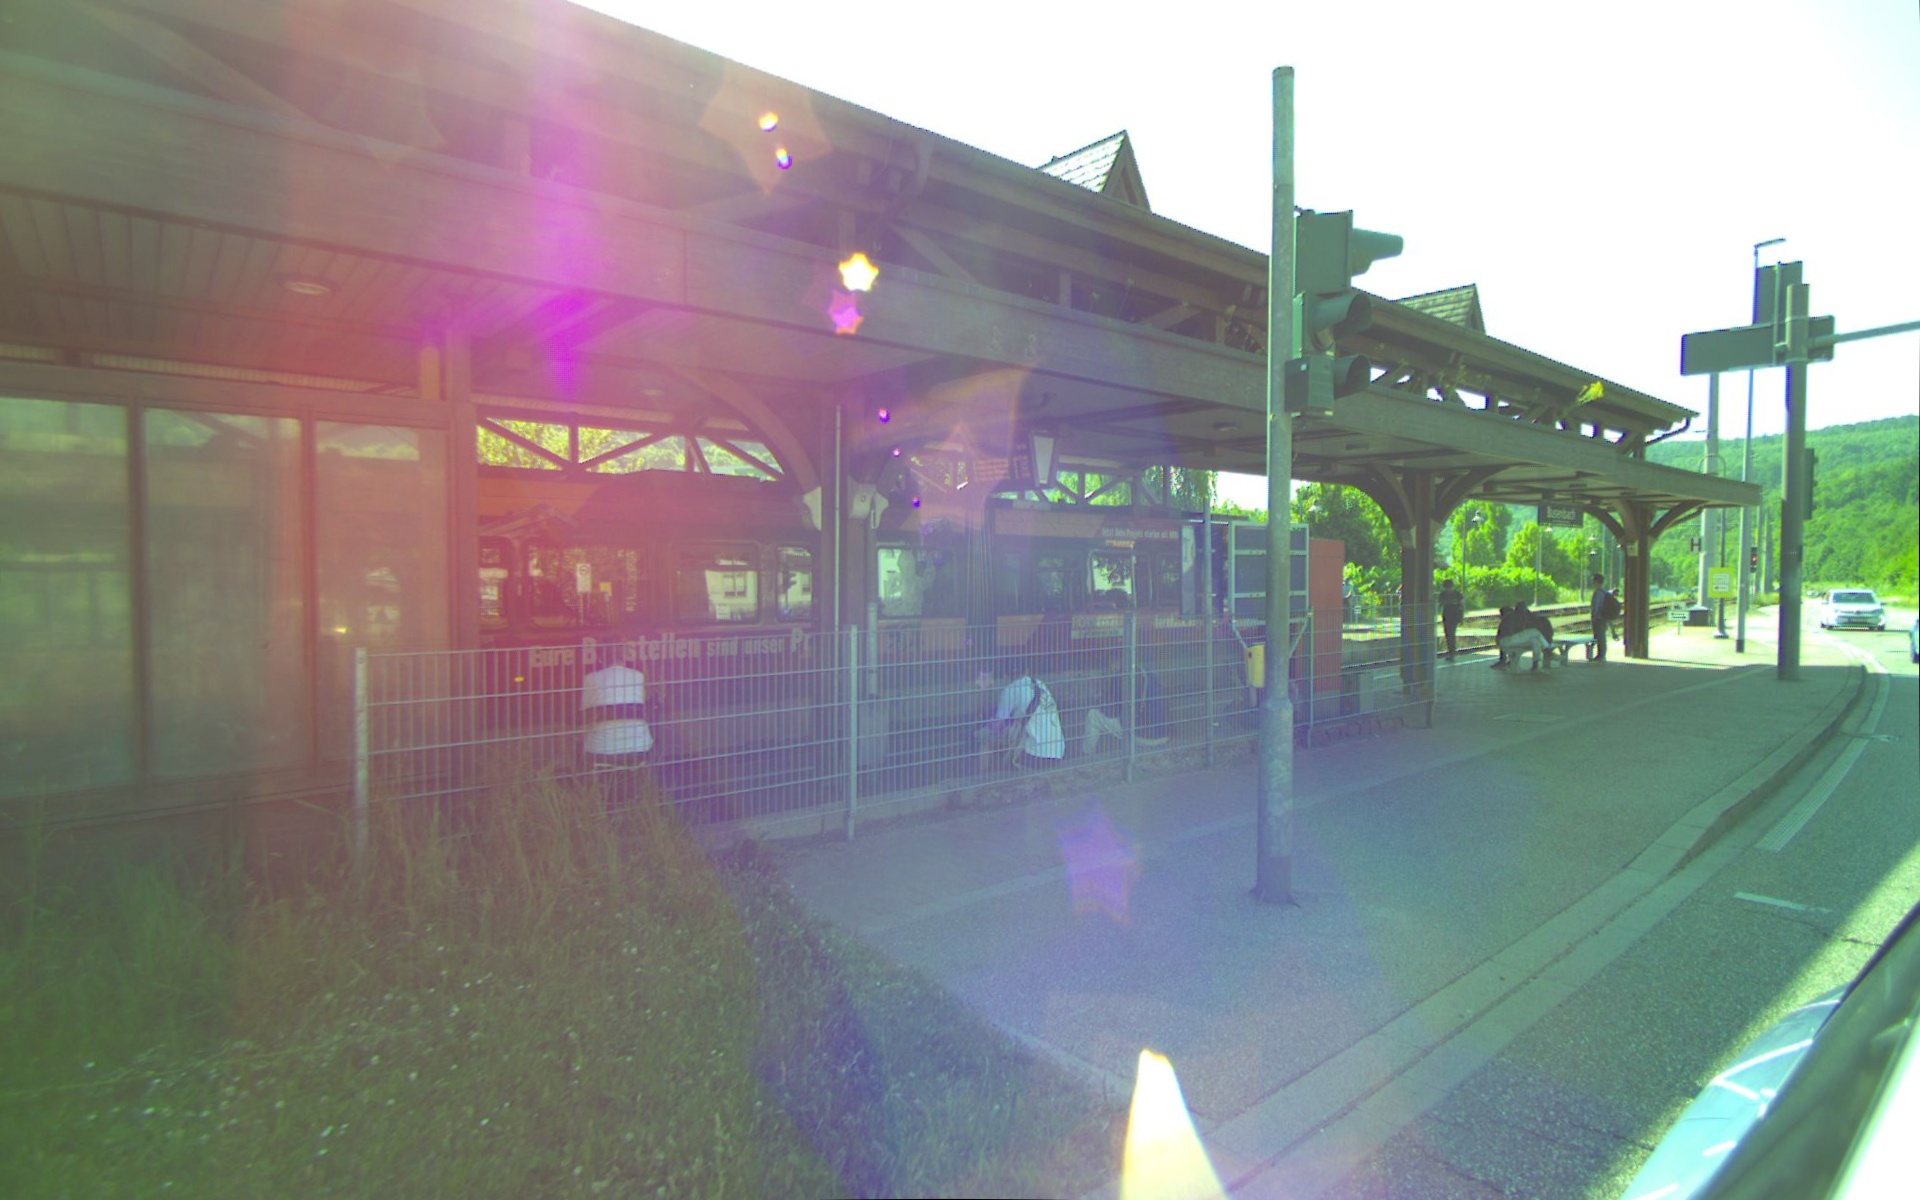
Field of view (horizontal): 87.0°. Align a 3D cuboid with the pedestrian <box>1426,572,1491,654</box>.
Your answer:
[{"bbox_3d":[9.868,0.244,20.052,0.906,1.567,0.862,1,0,-42],"label":"pedestrian"}]

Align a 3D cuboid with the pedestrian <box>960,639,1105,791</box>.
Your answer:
[{"bbox_3d":[0.522,0.793,7.346,0.756,0.995,0.743,1,-2,-43],"label":"pedestrian"}]

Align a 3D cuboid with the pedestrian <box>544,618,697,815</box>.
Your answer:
[{"bbox_3d":[-2.125,0.681,6.331,0.656,1.131,0.743,1,-2,-43],"label":"pedestrian"}]

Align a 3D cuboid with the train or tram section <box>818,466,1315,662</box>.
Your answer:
[{"bbox_3d":[3.380,-0.709,23.451,14.110,3.407,2.859,-1,1,-42],"label":"train or tram section"}]

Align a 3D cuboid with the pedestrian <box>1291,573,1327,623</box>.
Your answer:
[{"bbox_3d":[12.049,-0.053,34.946,0.805,1.705,0.905,0,-1,-10],"label":"pedestrian"}]

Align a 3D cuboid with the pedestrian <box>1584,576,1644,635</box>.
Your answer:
[{"bbox_3d":[20.134,0.171,31.177,0.898,1.759,1.252,1,-2,-31],"label":"pedestrian"}]

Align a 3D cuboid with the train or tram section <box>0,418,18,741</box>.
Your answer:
[{"bbox_3d":[-15.083,-0.185,7.385,11.834,3.407,2.761,0,-1,-40],"label":"train or tram section"}]

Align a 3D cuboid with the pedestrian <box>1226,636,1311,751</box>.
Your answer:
[{"bbox_3d":[2.790,0.828,9.177,0.400,0.978,0.617,1,-2,-43],"label":"pedestrian"}]

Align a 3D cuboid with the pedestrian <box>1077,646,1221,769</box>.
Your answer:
[{"bbox_3d":[1.525,0.836,8.195,0.794,0.885,0.845,1,-2,-43],"label":"pedestrian"}]

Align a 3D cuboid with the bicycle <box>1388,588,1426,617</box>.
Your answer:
[{"bbox_3d":[20.411,0.120,46.168,0.870,1.270,2.259,-1,-2,43],"label":"bicycle"}]

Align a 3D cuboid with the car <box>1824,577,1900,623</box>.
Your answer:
[{"bbox_3d":[33.240,0.005,37.377,1.991,1.605,3.940,-1,-1,41],"label":"car"}]

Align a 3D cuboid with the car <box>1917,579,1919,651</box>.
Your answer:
[{"bbox_3d":[19.843,0.357,19.309,1.856,1.501,4.243,1,1,38],"label":"car"}]

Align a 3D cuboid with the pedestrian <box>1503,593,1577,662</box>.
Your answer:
[{"bbox_3d":[10.365,0.463,18.096,1.005,1.174,0.935,1,1,40],"label":"pedestrian"}]

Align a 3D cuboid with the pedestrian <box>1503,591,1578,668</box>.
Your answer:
[{"bbox_3d":[9.754,0.493,17.014,0.990,1.251,0.588,-1,-2,40],"label":"pedestrian"}]

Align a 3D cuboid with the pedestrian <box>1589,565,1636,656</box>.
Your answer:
[{"bbox_3d":[12.595,0.180,19.524,0.656,1.713,0.728,1,1,40],"label":"pedestrian"}]

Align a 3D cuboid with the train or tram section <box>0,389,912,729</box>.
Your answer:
[{"bbox_3d":[-6.230,-0.495,14.897,11.838,3.407,2.791,-1,0,-41],"label":"train or tram section"}]

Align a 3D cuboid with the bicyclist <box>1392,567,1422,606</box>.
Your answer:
[{"bbox_3d":[20.384,-0.590,46.160,1.007,1.748,0.852,-1,-2,43],"label":"bicyclist"}]
